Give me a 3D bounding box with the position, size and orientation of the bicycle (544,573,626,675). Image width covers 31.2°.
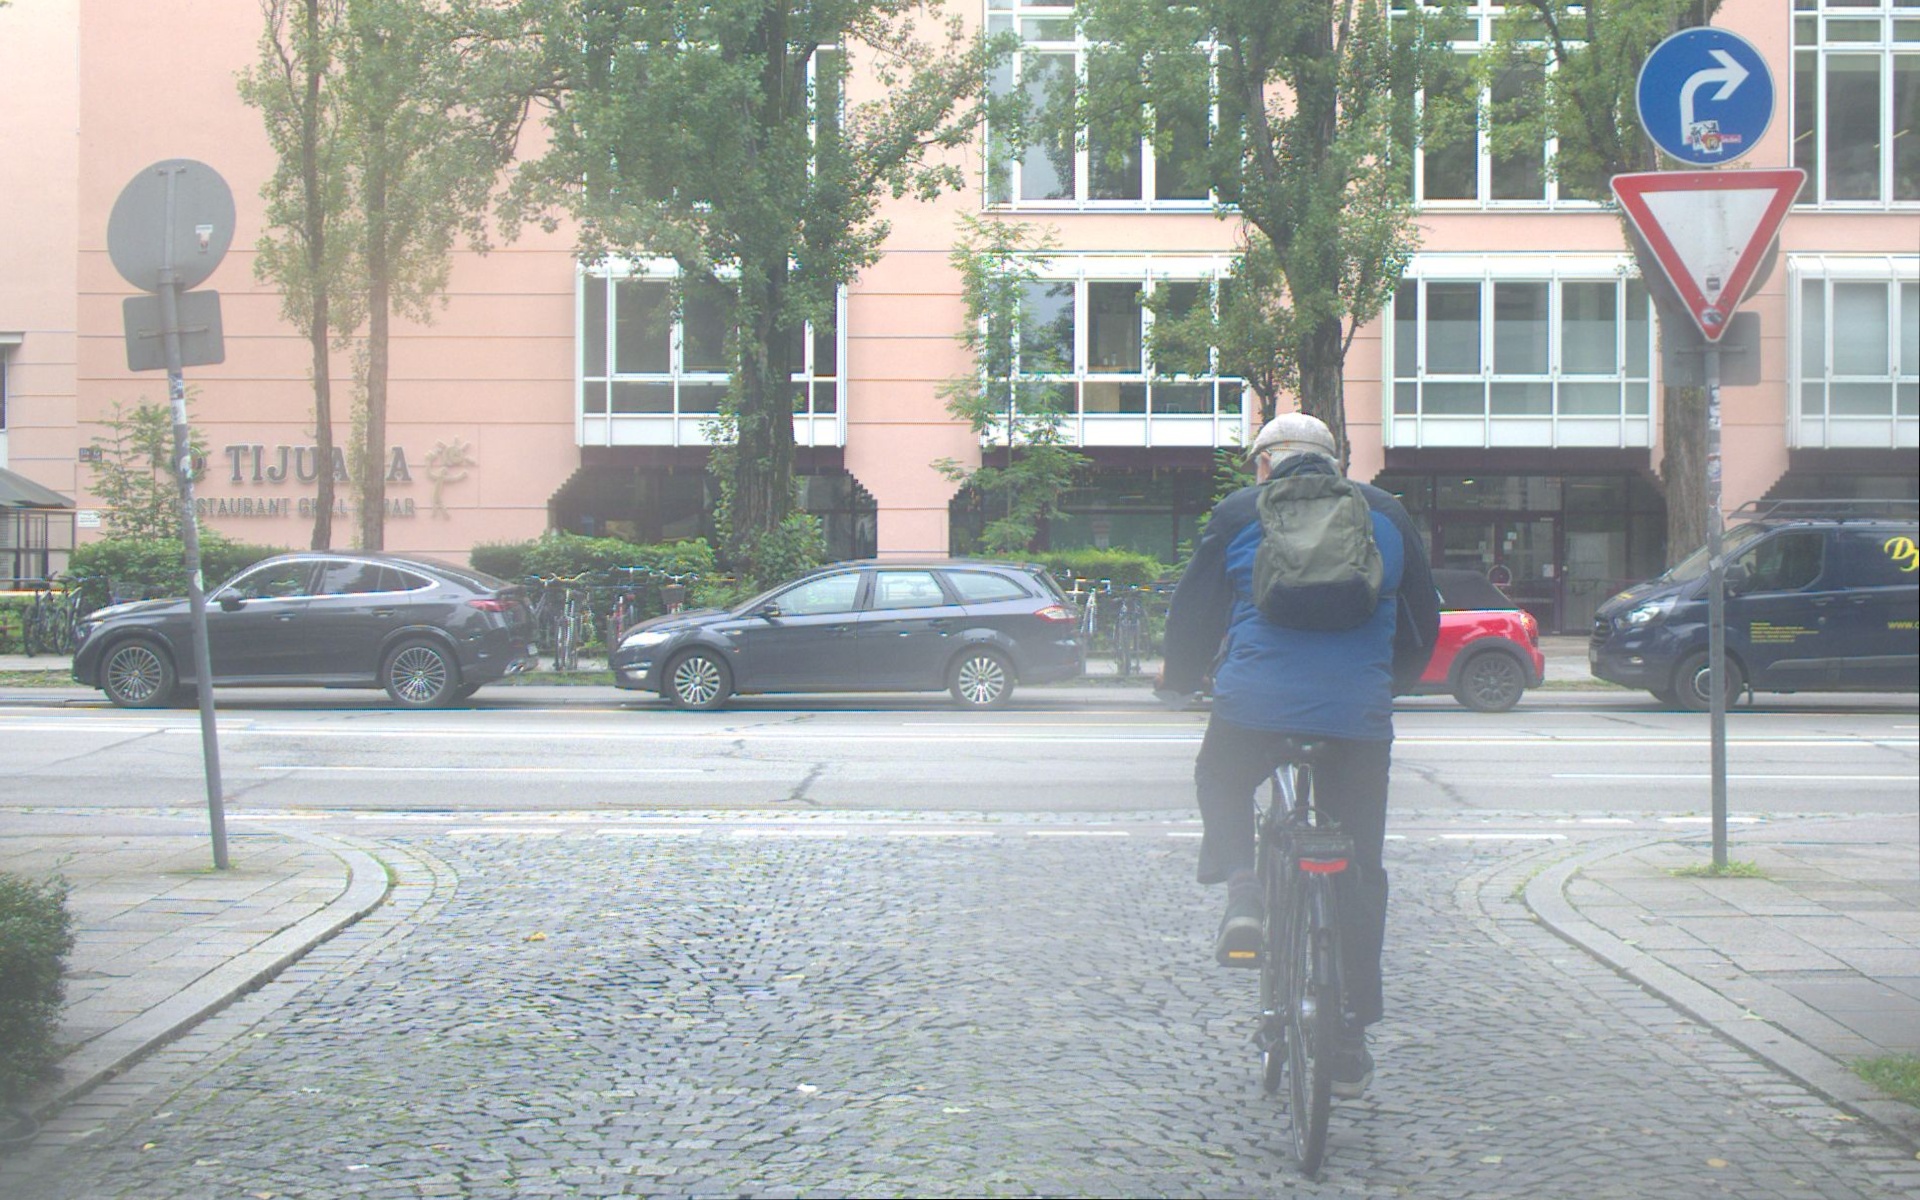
[{"bbox_3d":[-4.314,0.262,39.688,0.674,1.120,1.989,0,1,2],"label":"bicycle"}]

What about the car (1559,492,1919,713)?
[{"bbox_3d":[9.005,0.007,35.018,5.479,2.189,2.024,0,1,1],"label":"car"}]

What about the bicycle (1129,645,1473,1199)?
[{"bbox_3d":[0.769,0.700,8.164,0.717,1.144,1.900,0,0,3],"label":"bicycle"}]

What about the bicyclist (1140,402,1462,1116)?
[{"bbox_3d":[0.791,0.351,8.162,0.722,1.614,0.757,0,1,3],"label":"bicyclist"}]

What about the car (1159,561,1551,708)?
[{"bbox_3d":[3.956,0.334,34.892,3.861,1.444,1.678,0,1,4],"label":"car"}]

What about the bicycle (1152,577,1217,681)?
[{"bbox_3d":[2.535,0.316,38.936,0.674,1.120,1.742,0,1,2],"label":"bicycle"}]

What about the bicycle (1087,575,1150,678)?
[{"bbox_3d":[1.793,0.288,38.958,0.674,1.120,1.742,0,1,2],"label":"bicycle"}]

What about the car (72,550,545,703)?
[{"bbox_3d":[-6.630,0.252,35.313,4.500,1.523,1.793,0,1,1],"label":"car"}]

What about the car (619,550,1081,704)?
[{"bbox_3d":[-1.083,0.260,35.202,4.608,1.523,1.793,0,1,1],"label":"car"}]
